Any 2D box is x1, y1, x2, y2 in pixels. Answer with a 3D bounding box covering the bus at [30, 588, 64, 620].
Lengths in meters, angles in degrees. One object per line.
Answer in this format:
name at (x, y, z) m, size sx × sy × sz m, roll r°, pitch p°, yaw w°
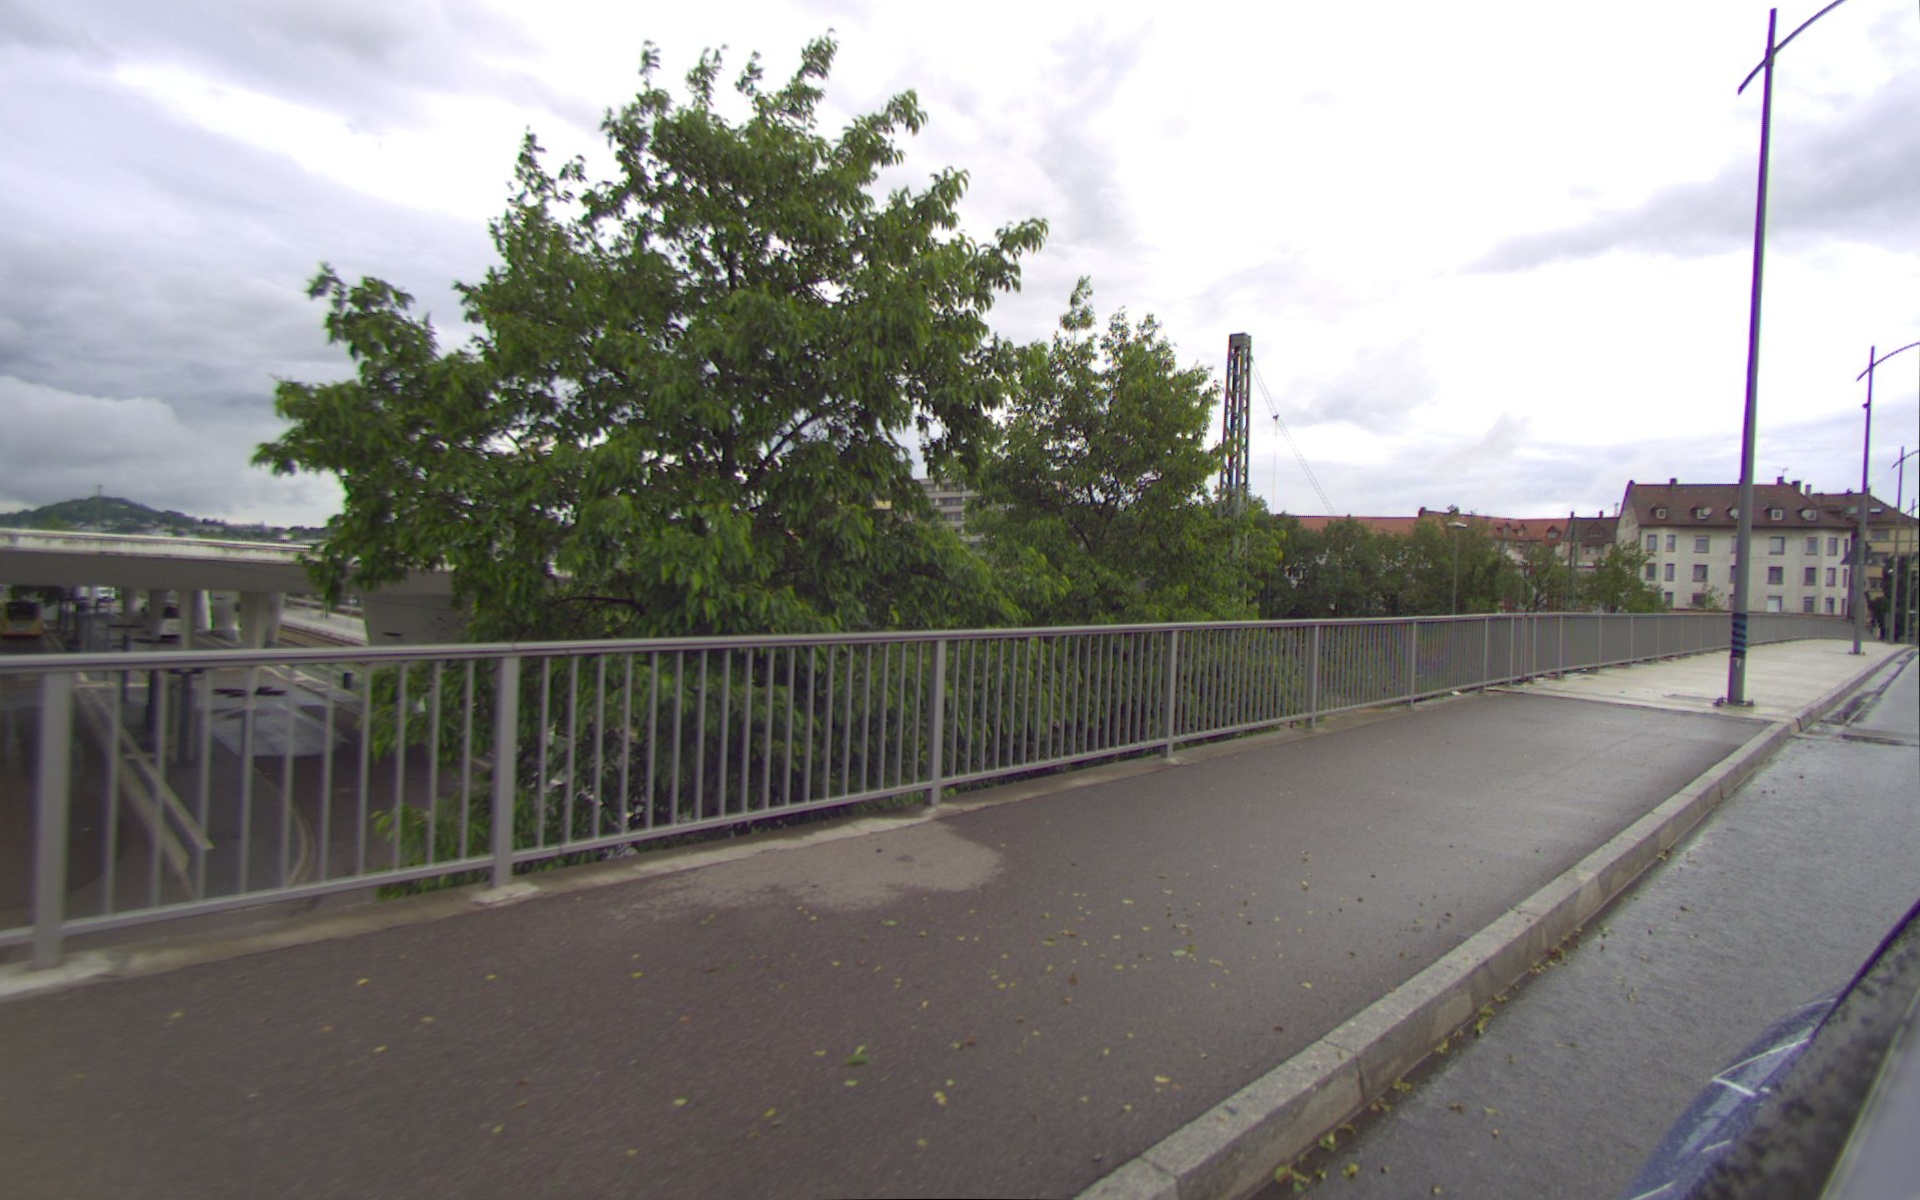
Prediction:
bus at (-97.888, 0.434, 108.490) m, size 2.564 × 3.251 × 6.980 m, roll 2°, pitch -1°, yaw -42°
